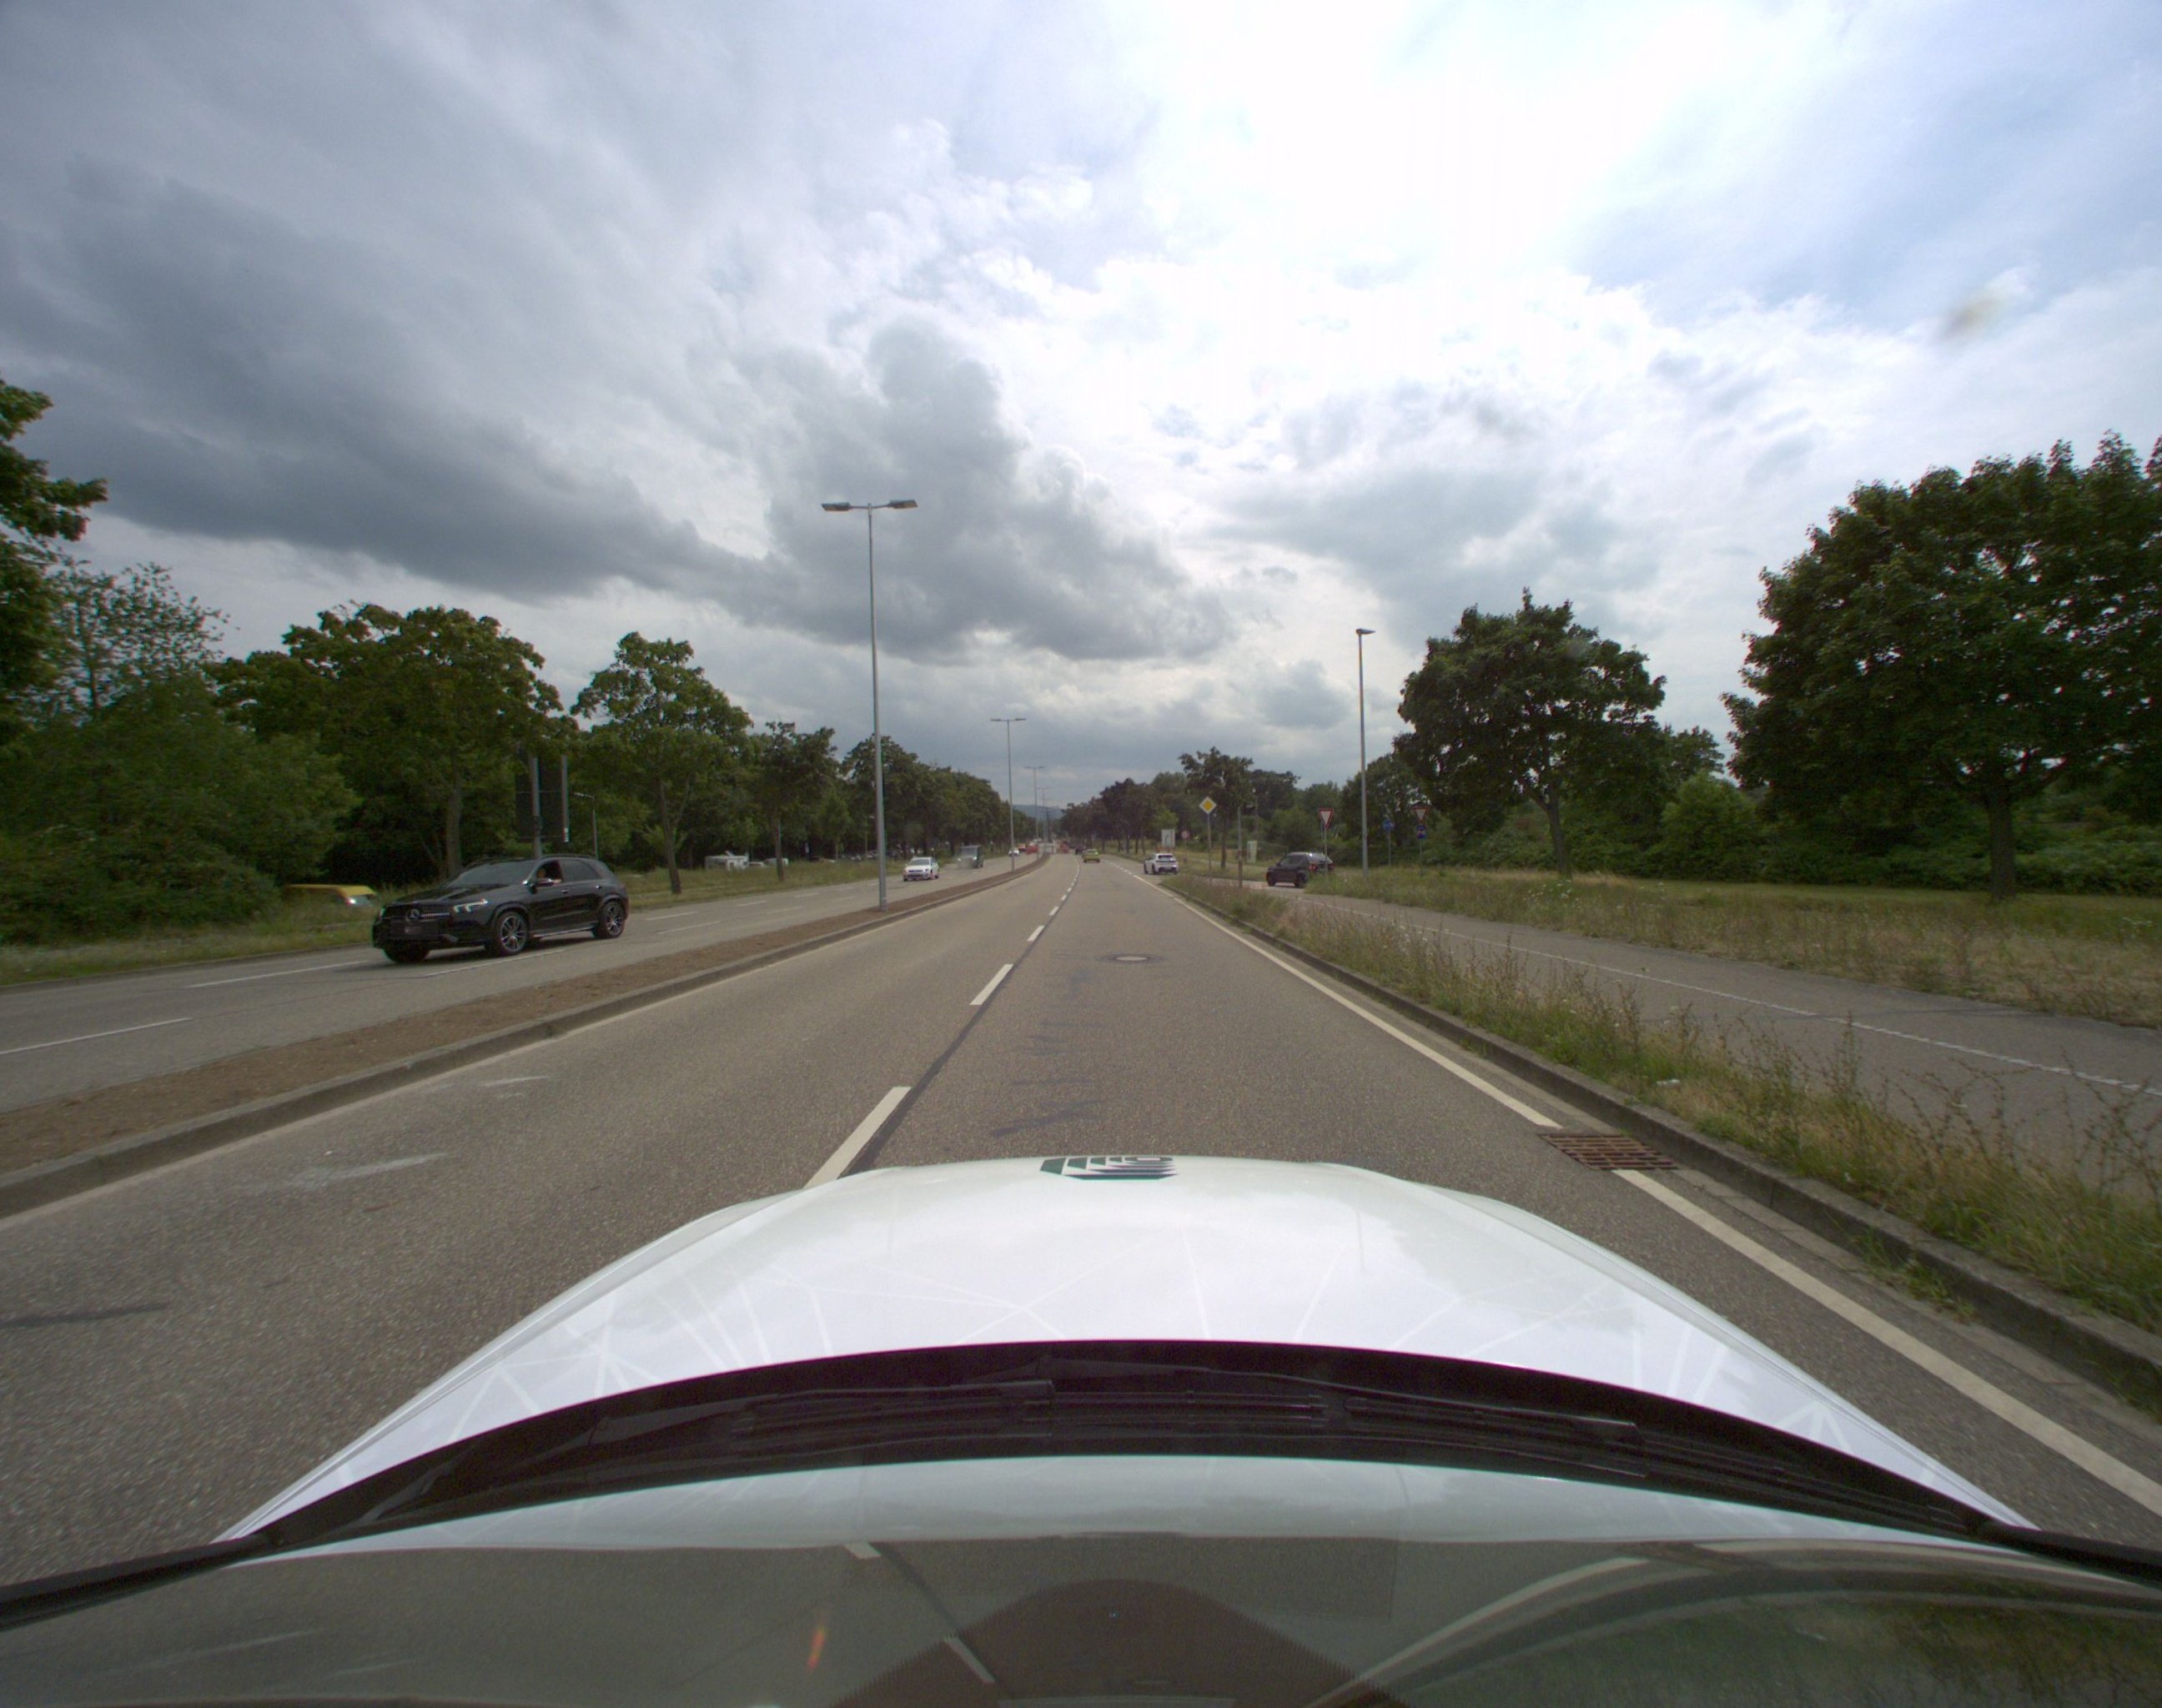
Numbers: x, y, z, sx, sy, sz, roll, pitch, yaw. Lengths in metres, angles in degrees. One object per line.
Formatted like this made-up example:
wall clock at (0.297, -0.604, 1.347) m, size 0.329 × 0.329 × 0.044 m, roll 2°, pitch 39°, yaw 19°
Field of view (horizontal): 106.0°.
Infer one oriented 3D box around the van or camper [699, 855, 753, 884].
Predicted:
van or camper at (-35.531, 1.461, 81.728) m, size 2.464 × 2.540 × 6.720 m, roll -1°, pitch 1°, yaw 0°

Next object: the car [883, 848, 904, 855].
car at (-39.812, -0.488, 172.908) m, size 3.759 × 1.425 × 1.966 m, roll -1°, pitch 1°, yaw 1°

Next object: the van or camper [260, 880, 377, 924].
van or camper at (-37.960, 2.370, 40.585) m, size 4.327 × 2.013 × 2.005 m, roll 0°, pitch 0°, yaw 9°

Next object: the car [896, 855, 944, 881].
car at (-10.374, 0.888, 52.819) m, size 1.986 × 1.430 × 4.690 m, roll -2°, pitch 1°, yaw 2°

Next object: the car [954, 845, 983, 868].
car at (-11.266, 0.199, 81.989) m, size 2.089 × 2.200 × 6.003 m, roll -3°, pitch 1°, yaw 0°

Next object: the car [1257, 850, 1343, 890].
car at (9.947, 0.661, 37.293) m, size 1.711 × 1.668 × 3.970 m, roll -1°, pitch 1°, yaw -23°

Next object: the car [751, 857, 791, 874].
car at (-36.466, 1.323, 95.863) m, size 3.975 × 1.887 × 1.938 m, roll -1°, pitch 1°, yaw -1°

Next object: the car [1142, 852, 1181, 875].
car at (5.485, 0.631, 56.148) m, size 1.765 × 1.464 × 3.990 m, roll -1°, pitch 1°, yaw -8°

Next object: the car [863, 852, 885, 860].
car at (-39.574, 0.372, 155.728) m, size 3.636 × 1.519 × 1.883 m, roll -1°, pitch 1°, yaw 1°

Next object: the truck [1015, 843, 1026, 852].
truck at (-13.589, -1.484, 182.819) m, size 2.082 × 1.994 × 6.038 m, roll -3°, pitch 1°, yaw 0°

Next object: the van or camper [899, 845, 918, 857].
van or camper at (-39.938, -0.684, 189.058) m, size 3.976 × 2.756 × 1.926 m, roll -1°, pitch 1°, yaw -2°

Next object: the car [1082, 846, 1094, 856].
car at (1.012, -0.444, 118.979) m, size 1.662 × 1.269 × 4.000 m, roll -1°, pitch 1°, yaw 0°

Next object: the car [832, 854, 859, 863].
car at (-39.466, 0.814, 136.306) m, size 3.973 × 1.360 × 1.667 m, roll -1°, pitch 1°, yaw 1°

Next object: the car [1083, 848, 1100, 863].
car at (1.167, 0.146, 92.205) m, size 1.787 × 1.561 × 4.000 m, roll -1°, pitch 1°, yaw 0°

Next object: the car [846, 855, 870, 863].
car at (-38.826, 0.861, 141.819) m, size 3.633 × 1.360 × 1.709 m, roll -1°, pitch 1°, yaw 1°

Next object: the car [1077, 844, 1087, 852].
car at (0.125, -0.994, 141.695) m, size 1.662 × 1.269 × 4.000 m, roll -1°, pitch 1°, yaw 0°

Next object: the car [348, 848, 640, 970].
car at (-10.769, 0.869, 15.551) m, size 1.987 × 1.811 × 4.798 m, roll -2°, pitch 1°, yaw 0°

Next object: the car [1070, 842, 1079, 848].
car at (-1.720, -2.421, 215.680) m, size 2.198 × 1.683 × 4.001 m, roll -1°, pitch 1°, yaw 1°

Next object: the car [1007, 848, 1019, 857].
car at (-12.031, -0.216, 144.066) m, size 1.711 × 1.420 × 4.160 m, roll -3°, pitch 1°, yaw 0°
